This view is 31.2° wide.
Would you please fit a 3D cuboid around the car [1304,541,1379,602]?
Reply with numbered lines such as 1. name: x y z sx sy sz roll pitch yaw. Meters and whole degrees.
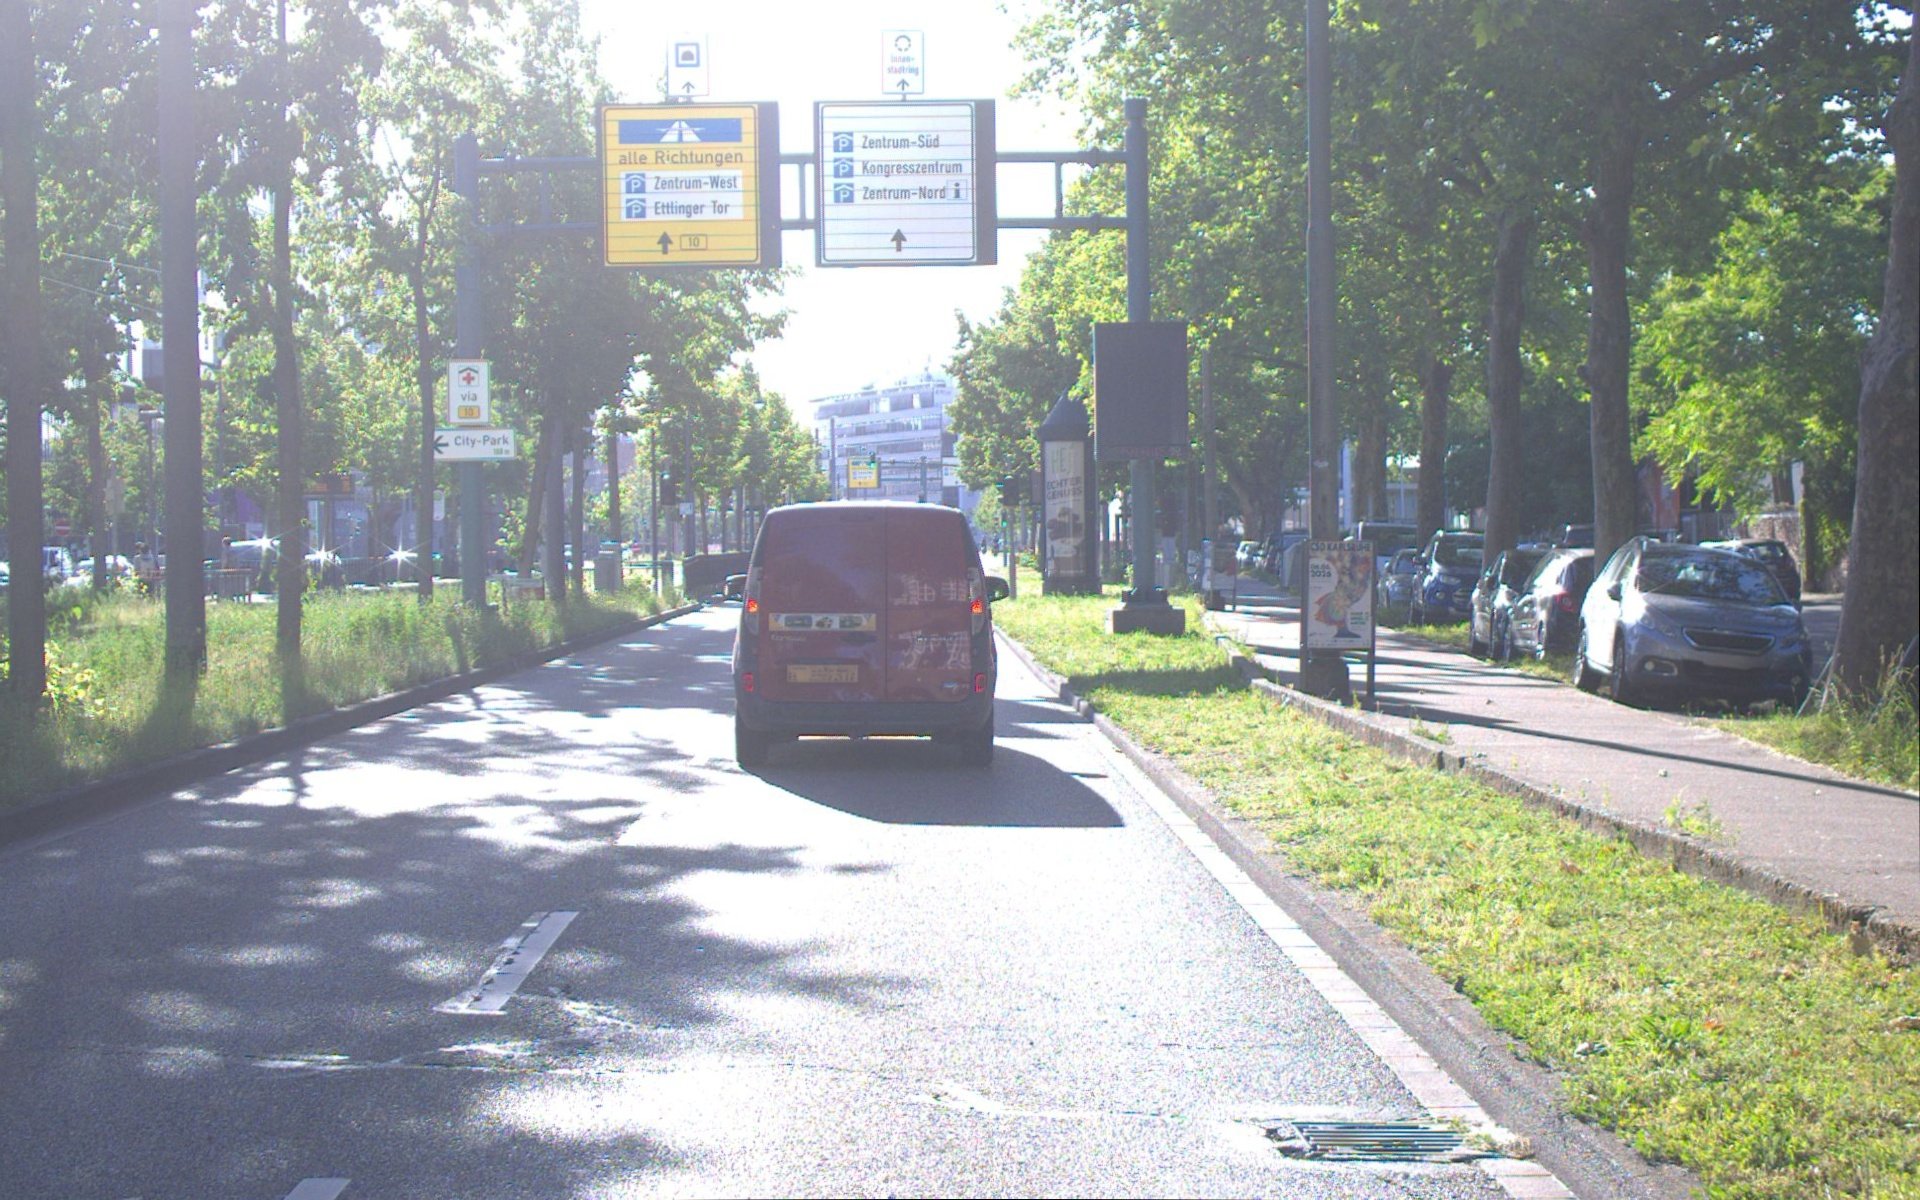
1. car: 9.707 -0.723 87.615 1.662 1.495 2.989 1 0 2

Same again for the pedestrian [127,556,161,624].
1. pedestrian: -18.394 -0.224 77.511 0.550 1.513 0.588 1 0 4

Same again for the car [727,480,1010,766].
1. car: -0.719 0.133 24.395 1.808 1.831 4.001 1 0 -4

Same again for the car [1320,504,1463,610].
1. car: 8.710 -0.864 69.868 2.190 2.007 5.820 1 0 1

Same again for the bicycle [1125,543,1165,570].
1. bicycle: 8.938 -2.103 166.239 1.918 1.264 0.479 0 1 1

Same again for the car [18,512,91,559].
1. car: -40.191 -2.843 152.711 1.993 2.007 4.563 1 0 0

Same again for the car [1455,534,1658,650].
1. car: 7.740 -0.128 45.030 1.994 1.377 4.677 2 1 2

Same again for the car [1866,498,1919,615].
1. car: 17.729 -0.777 61.382 2.087 2.007 4.942 0 1 4

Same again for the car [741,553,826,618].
1. car: -4.570 -0.396 89.495 1.993 1.612 4.000 1 0 -1

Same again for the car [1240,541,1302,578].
1. car: 11.741 -1.520 129.963 1.871 1.363 4.000 1 0 -1

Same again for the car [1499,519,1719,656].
1. car: 7.295 -0.149 38.981 1.793 1.433 3.884 1 0 1

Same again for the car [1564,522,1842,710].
1. car: 6.844 0.123 32.061 1.793 1.555 4.020 3 1 2

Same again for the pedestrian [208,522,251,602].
1. pedestrian: -16.848 -0.872 79.281 0.820 1.829 0.726 1 0 -3

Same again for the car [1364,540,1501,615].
1. car: 8.699 -0.421 63.572 1.993 1.285 4.053 1 0 1

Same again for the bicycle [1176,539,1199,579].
1. bicycle: 6.022 -1.091 91.104 0.493 1.043 1.904 1 0 1

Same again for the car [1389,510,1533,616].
1. car: 8.153 -0.599 56.298 1.736 1.636 4.353 1 0 1

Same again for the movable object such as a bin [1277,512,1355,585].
1. movable object such as a bin: 10.131 -1.452 97.907 2.081 2.007 2.136 1 0 3

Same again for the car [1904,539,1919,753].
1. car: 8.088 0.384 24.342 1.793 1.629 4.626 1 0 4
